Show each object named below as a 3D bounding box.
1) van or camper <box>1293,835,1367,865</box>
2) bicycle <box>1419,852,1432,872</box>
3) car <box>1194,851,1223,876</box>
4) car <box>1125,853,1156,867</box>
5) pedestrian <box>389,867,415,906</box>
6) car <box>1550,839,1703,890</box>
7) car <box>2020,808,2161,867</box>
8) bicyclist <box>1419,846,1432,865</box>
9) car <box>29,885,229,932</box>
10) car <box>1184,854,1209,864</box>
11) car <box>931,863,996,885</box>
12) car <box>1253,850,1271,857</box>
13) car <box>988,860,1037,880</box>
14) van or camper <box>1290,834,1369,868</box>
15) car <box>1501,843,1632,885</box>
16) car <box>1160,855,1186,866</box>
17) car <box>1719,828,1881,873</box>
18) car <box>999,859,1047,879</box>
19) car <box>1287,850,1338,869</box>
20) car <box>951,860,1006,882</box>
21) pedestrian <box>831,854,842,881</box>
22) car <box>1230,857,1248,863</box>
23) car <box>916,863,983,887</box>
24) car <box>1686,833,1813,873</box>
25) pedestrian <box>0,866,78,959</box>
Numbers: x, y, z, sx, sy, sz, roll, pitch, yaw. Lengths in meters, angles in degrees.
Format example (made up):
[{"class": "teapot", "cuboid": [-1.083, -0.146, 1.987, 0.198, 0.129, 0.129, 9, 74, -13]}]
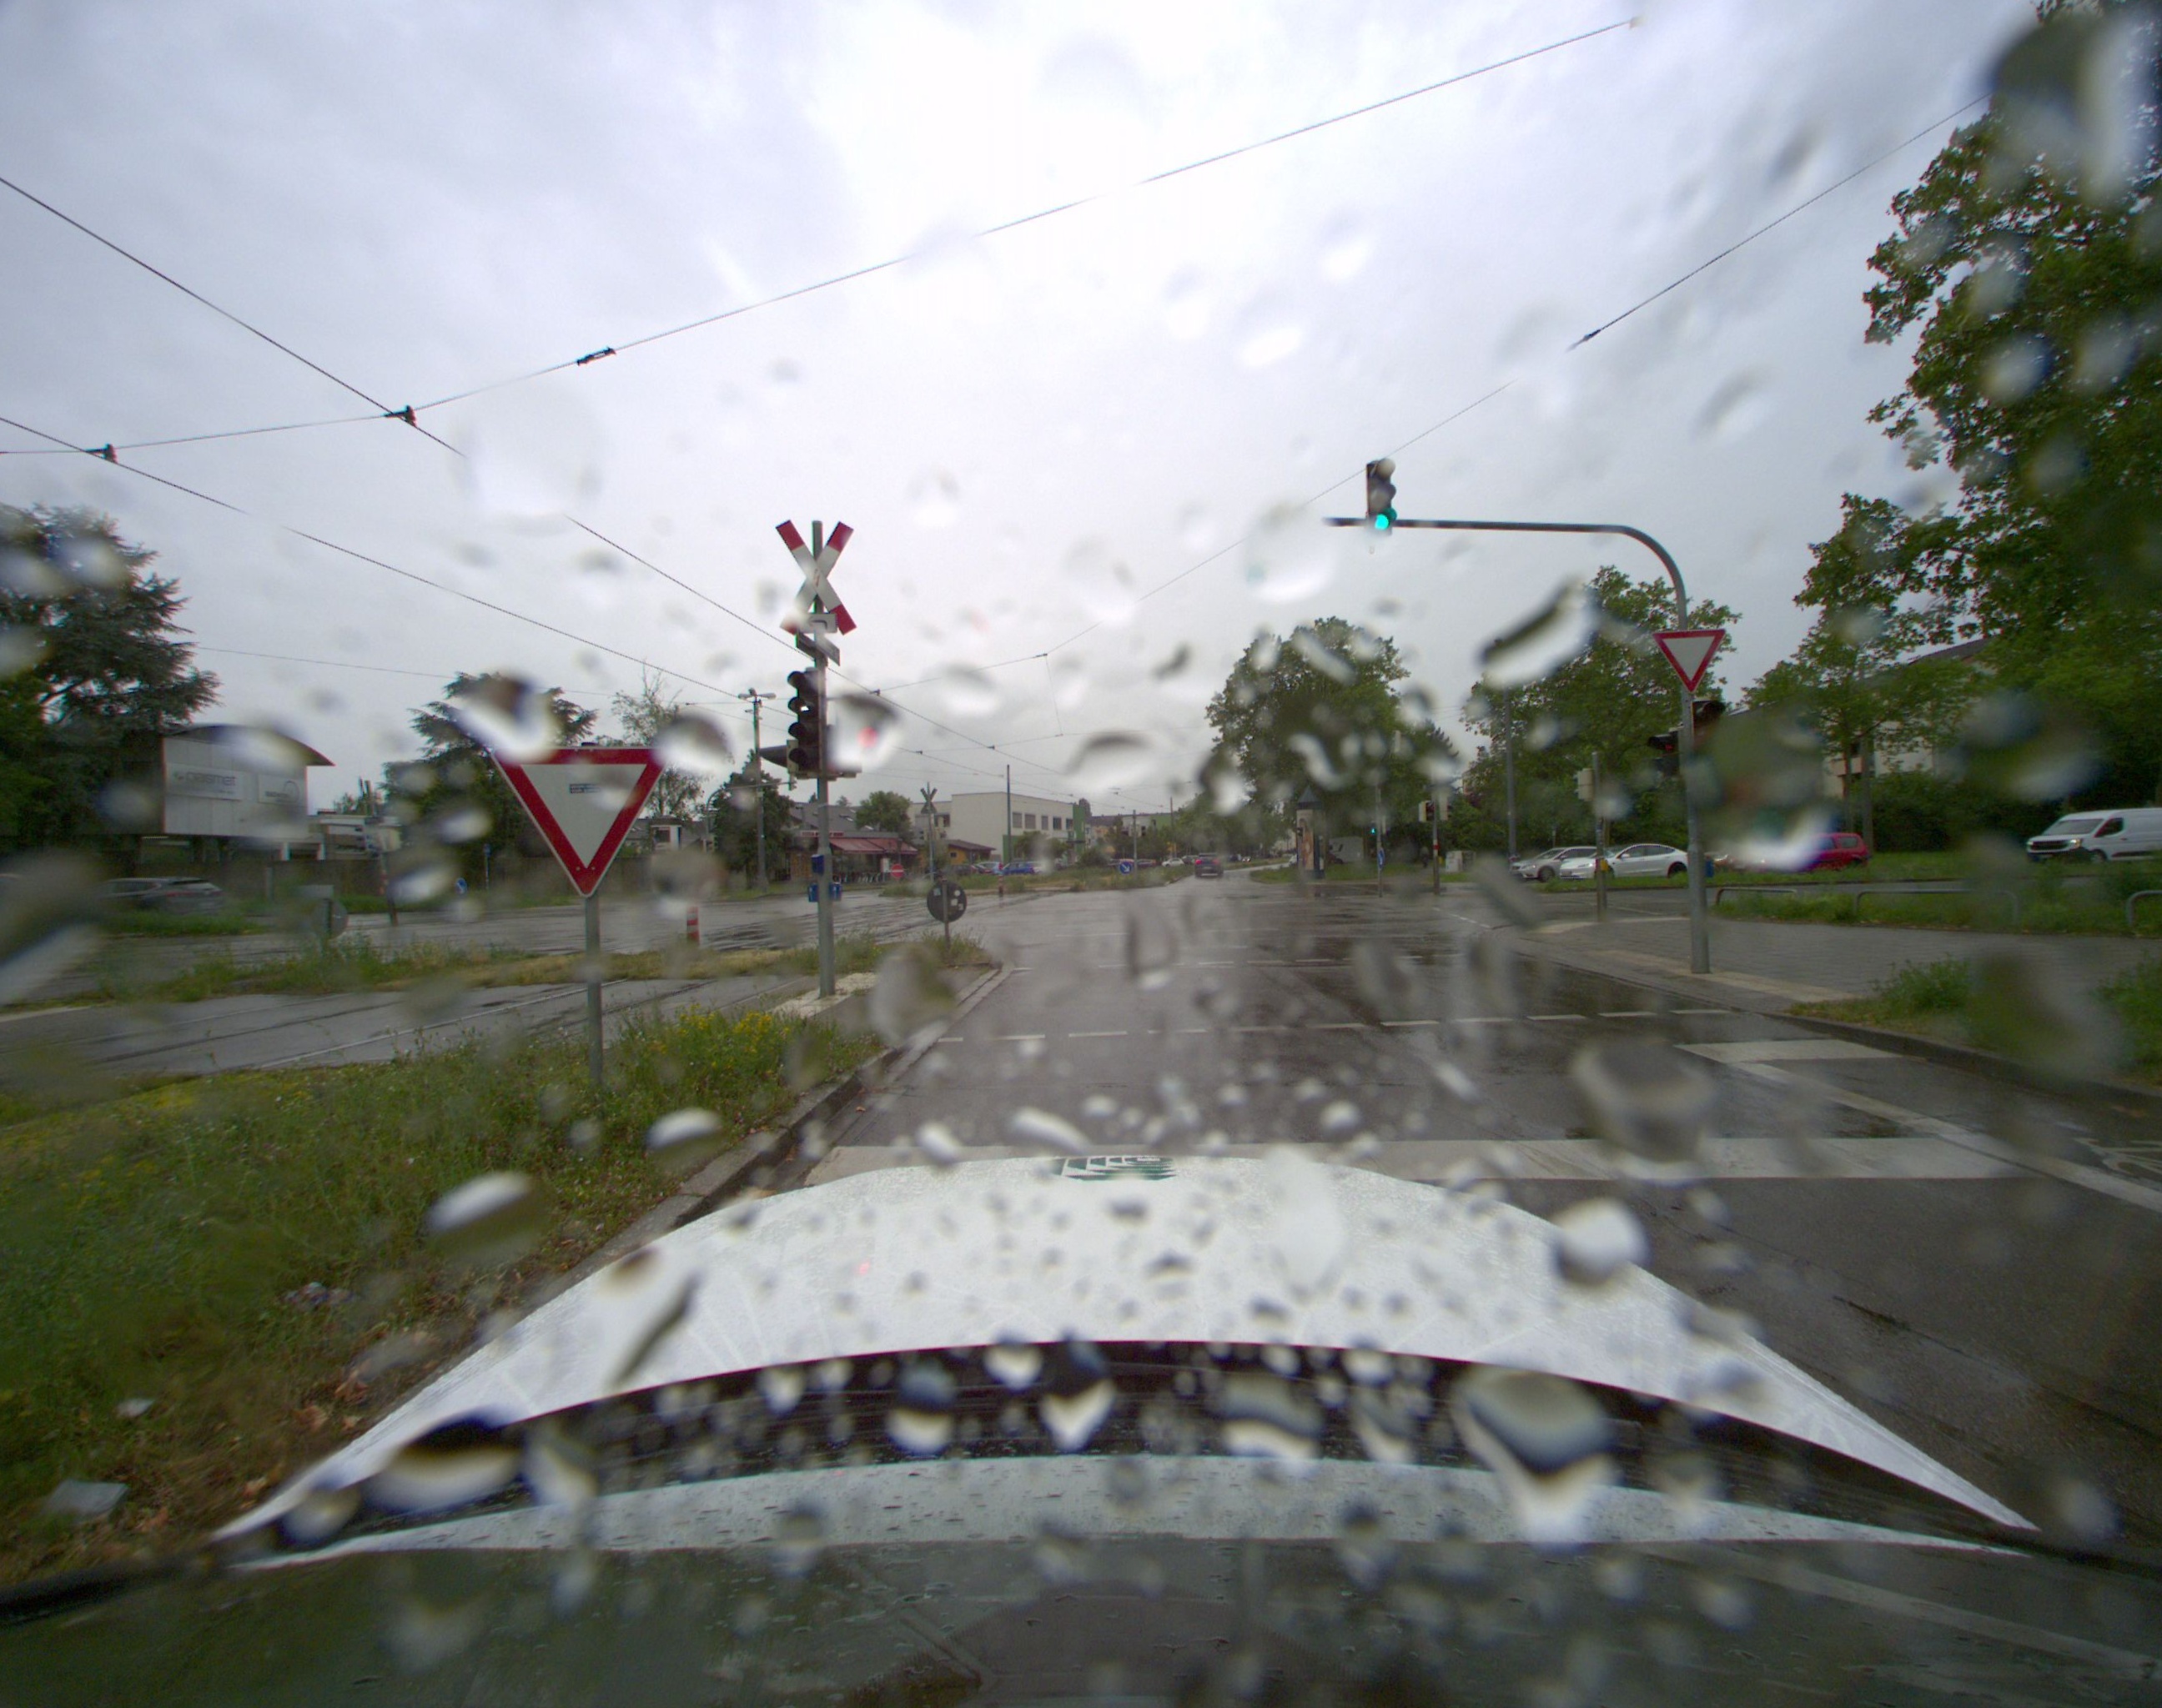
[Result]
[{"class": "van or camper", "cuboid": [27.230, -0.379, 89.214, 7.359, 3.178, 3.281, -1, -1, 24]}, {"class": "bicycle", "cuboid": [26.031, 0.592, 61.522, 0.854, 1.425, 2.718, -1, -1, 22]}, {"class": "car", "cuboid": [9.041, 0.640, 57.488, 1.794, 1.686, 3.925, -1, -1, 13]}, {"class": "car", "cuboid": [8.021, 0.843, 110.084, 3.980, 1.887, 1.997, 0, -1, -5]}, {"class": "pedestrian", "cuboid": [-32.286, 1.533, 38.730, 0.890, 1.797, 0.719, 0, 0, -33]}, {"class": "car", "cuboid": [20.476, 0.368, 30.686, 4.585, 1.828, 1.931, 0, -1, -5]}, {"class": "car", "cuboid": [43.914, -0.683, 34.633, 5.585, 2.392, 2.000, 0, -1, 0]}, {"class": "bicyclist", "cuboid": [26.209, 0.114, 61.976, 0.854, 1.425, 0.961, -1, -1, 22]}, {"class": "car", "cuboid": [-30.965, 1.747, 26.604, 4.118, 1.399, 1.688, 0, -1, -9]}, {"class": "car", "cuboid": [20.428, 0.853, 144.624, 3.986, 1.759, 2.004, 0, -1, -10]}, {"class": "car", "cuboid": [-8.863, 1.506, 61.707, 4.478, 1.418, 1.860, -3, -1, 3]}, {"class": "car", "cuboid": [44.058, -0.134, 198.153, 3.977, 1.832, 1.998, 0, -1, -3]}, {"class": "car", "cuboid": [-5.917, 1.358, 70.105, 3.986, 1.582, 1.924, -2, -1, -9]}, {"class": "van or camper", "cuboid": [24.474, -0.230, 80.129, 7.261, 3.178, 3.278, -1, -1, 20]}, {"class": "car", "cuboid": [20.222, 0.417, 34.010, 4.385, 1.691, 1.931, 0, -1, -5]}, {"class": "car", "cuboid": [14.247, 0.952, 126.484, 3.772, 1.702, 1.832, 0, -1, -8]}, {"class": "car", "cuboid": [26.985, -0.120, 30.666, 4.589, 1.607, 1.790, 0, -1, -1]}, {"class": "car", "cuboid": [-5.219, 1.356, 73.212, 4.112, 1.641, 1.922, -1, -1, -12]}, {"class": "car", "cuboid": [22.000, 0.507, 77.242, 4.405, 1.717, 2.011, -1, -1, 23]}, {"class": "car", "cuboid": [-8.192, 1.331, 64.992, 3.966, 1.582, 1.862, -2, -1, 6]}, {"class": "pedestrian", "cuboid": [-18.472, 0.989, 61.516, 0.726, 2.014, 0.789, 0, -1, -21]}, {"class": "car", "cuboid": [35.309, 1.275, 181.988, 3.868, 1.354, 1.764, 0, -1, 4]}, {"class": "car", "cuboid": [-9.555, 1.512, 59.380, 4.459, 1.418, 1.860, -3, -1, 3]}, {"class": "car", "cuboid": [28.191, -0.037, 34.416, 4.048, 1.607, 1.788, 0, -1, -5]}, {"class": "pedestrian", "cuboid": [-23.390, 1.272, 18.087, 0.948, 1.991, 1.007, 0, -1, -3]}]
